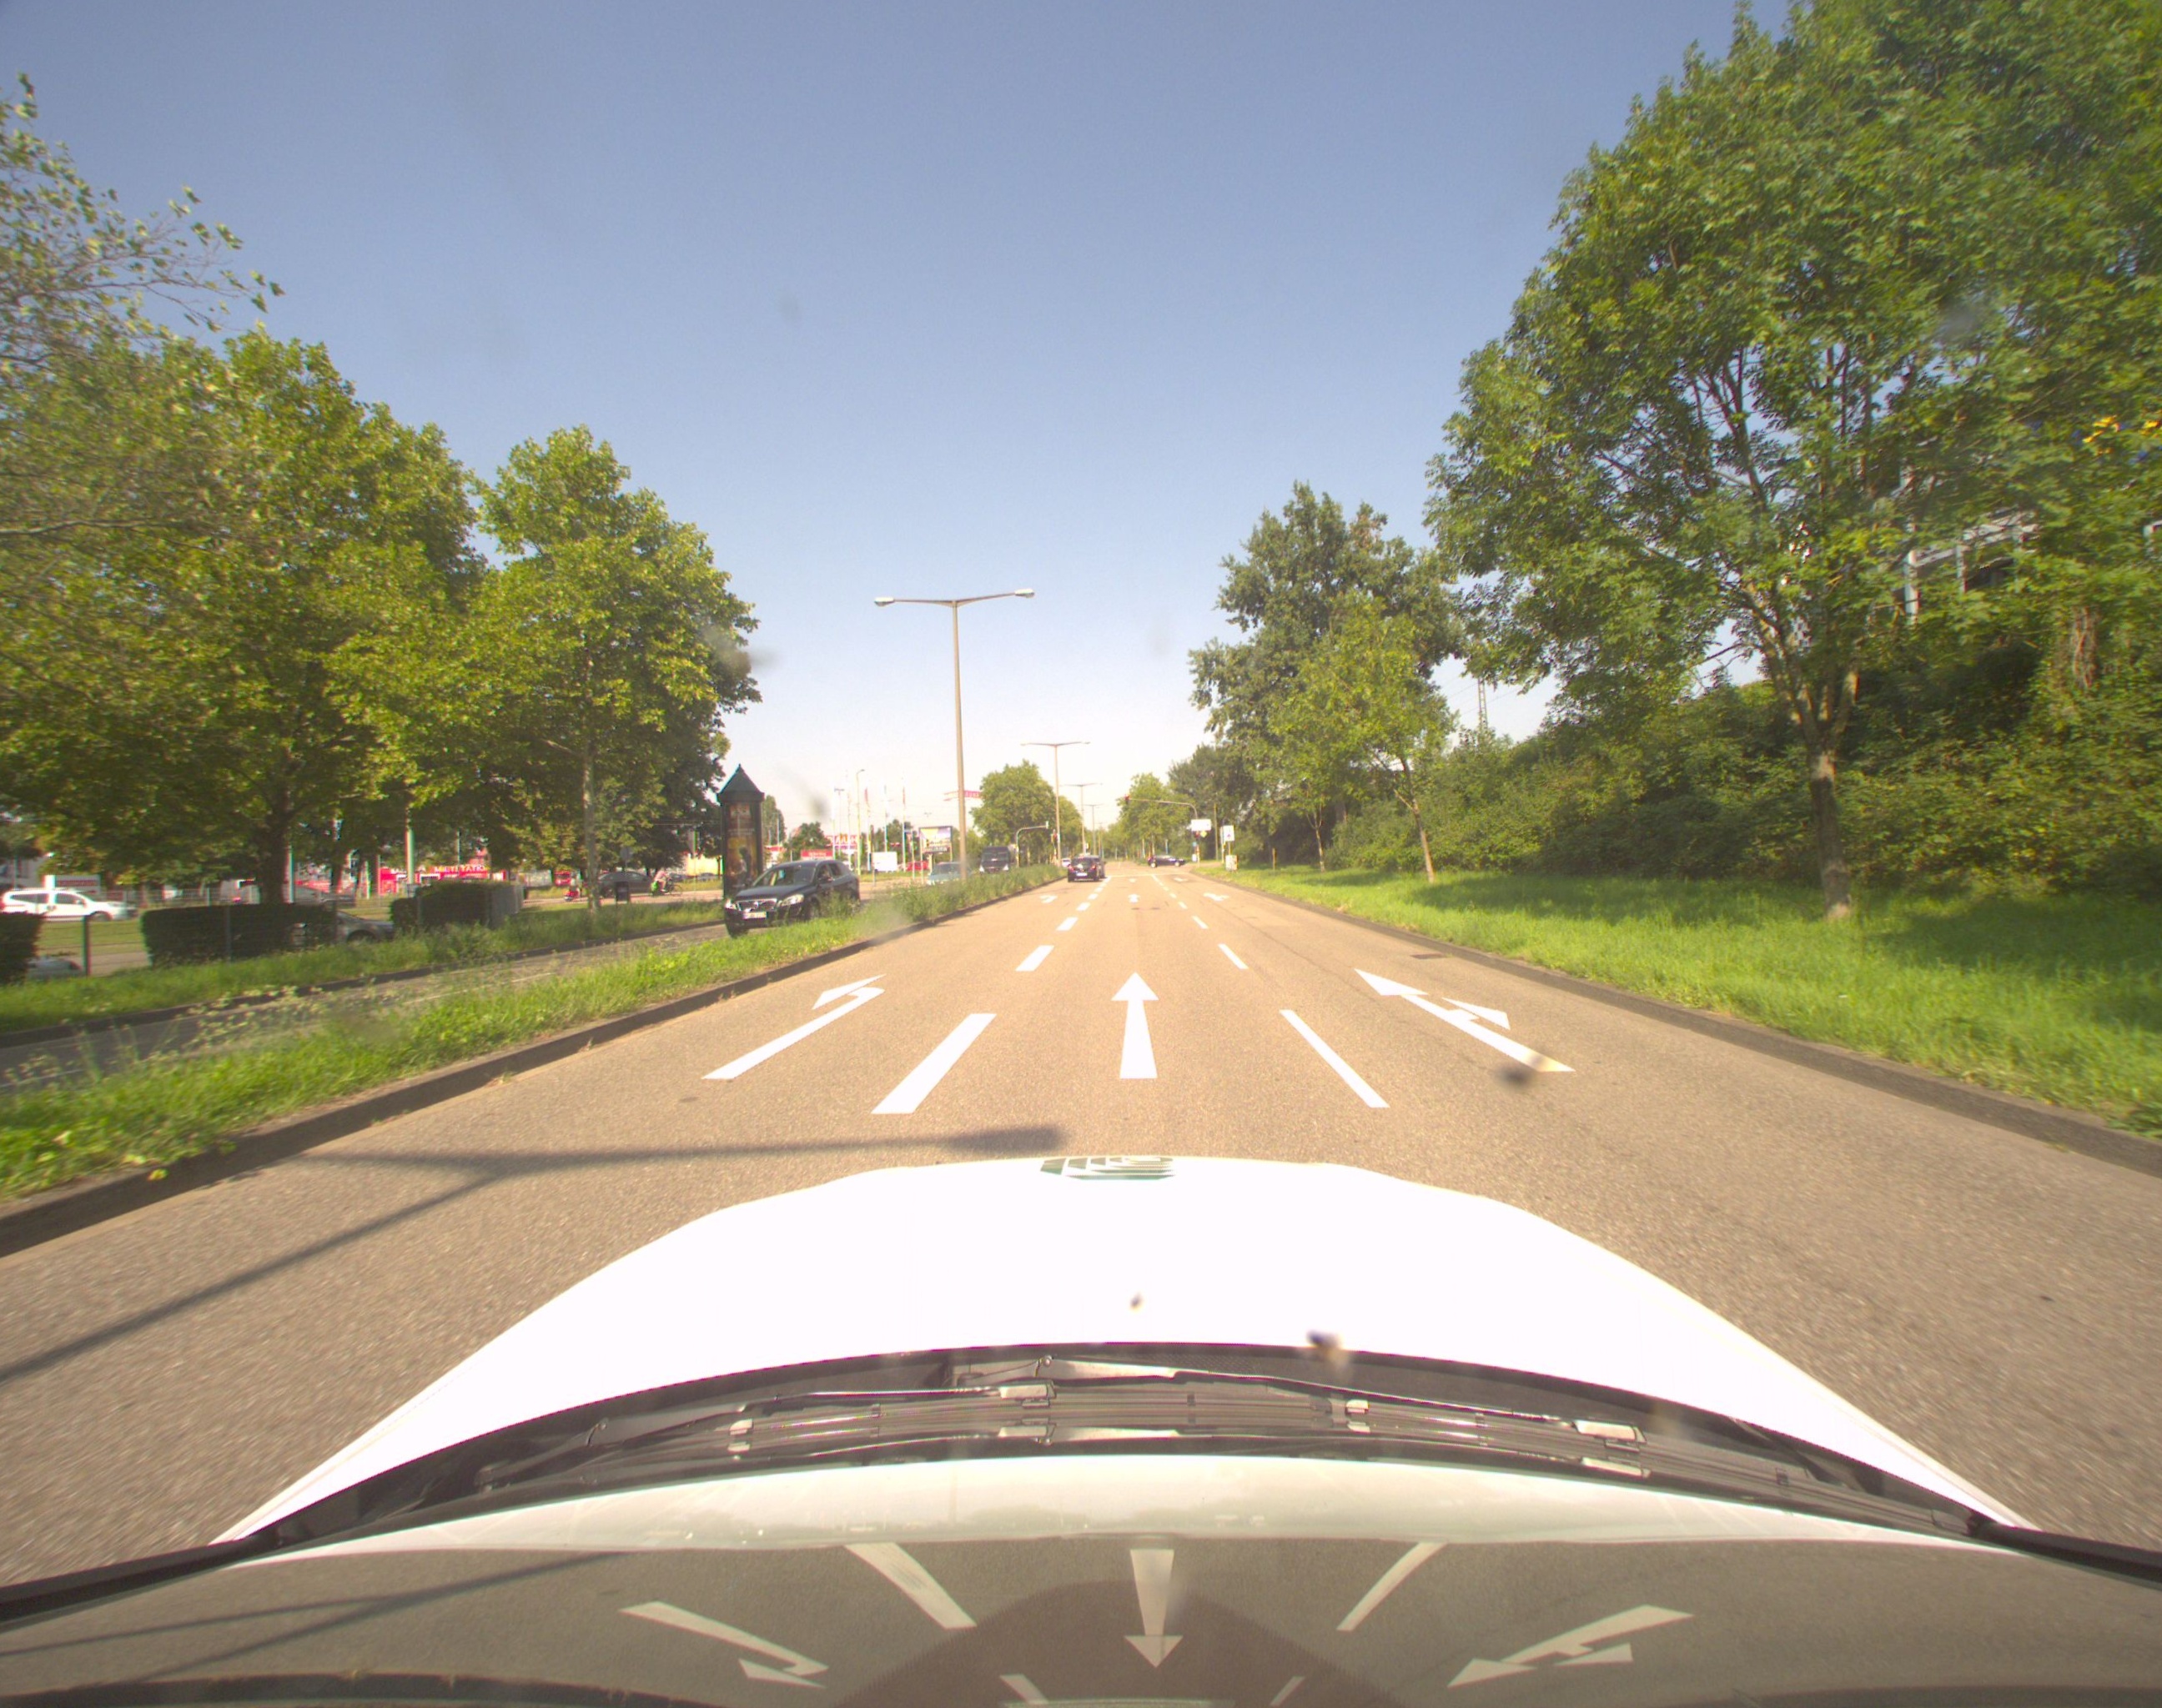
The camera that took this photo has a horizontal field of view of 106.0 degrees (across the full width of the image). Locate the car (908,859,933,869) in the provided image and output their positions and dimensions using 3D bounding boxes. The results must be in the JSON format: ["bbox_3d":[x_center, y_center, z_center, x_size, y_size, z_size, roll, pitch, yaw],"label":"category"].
[{"bbox_3d":[-31.850,1.995,161.674,4.316,2.014,1.975,-1,-1,-44],"label":"car"}]

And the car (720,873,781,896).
[{"bbox_3d":[-22.819,2.064,56.228,3.716,1.443,1.451,-1,-1,-33],"label":"car"}]

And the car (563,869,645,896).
[{"bbox_3d":[-30.142,1.778,51.519,4.329,1.579,1.555,-1,-1,-35],"label":"car"}]

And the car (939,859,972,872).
[{"bbox_3d":[-14.153,1.285,91.946,3.353,1.137,1.498,-5,0,11],"label":"car"}]

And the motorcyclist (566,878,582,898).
[{"bbox_3d":[-30.743,2.051,49.391,0.833,1.178,0.684,-1,-1,-32],"label":"motorcyclist"}]

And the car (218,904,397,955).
[{"bbox_3d":[-25.303,2.423,26.829,4.016,1.256,1.574,-3,0,-34],"label":"car"}]

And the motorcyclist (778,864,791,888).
[{"bbox_3d":[-19.927,1.500,54.714,0.686,1.572,0.676,-1,-1,-32],"label":"motorcyclist"}]

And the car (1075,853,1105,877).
[{"bbox_3d":[0.623,0.710,53.688,1.685,1.486,4.004,-3,0,3],"label":"car"}]

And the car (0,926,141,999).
[{"bbox_3d":[-23.405,2.361,17.613,3.974,1.310,1.820,-2,-1,0],"label":"car"}]

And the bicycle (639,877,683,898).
[{"bbox_3d":[-26.138,2.063,50.668,2.369,1.235,0.865,-1,-1,-33],"label":"bicycle"}]

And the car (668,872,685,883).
[{"bbox_3d":[-45.178,2.649,90.880,1.615,1.135,3.384,-1,-1,-29],"label":"car"}]

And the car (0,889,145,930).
[{"bbox_3d":[-47.827,2.596,38.686,4.015,1.679,1.851,-1,-1,-34],"label":"car"}]

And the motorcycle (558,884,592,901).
[{"bbox_3d":[-30.688,2.338,49.415,1.727,0.945,0.705,-1,-1,-32],"label":"motorcycle"}]

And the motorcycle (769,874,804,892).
[{"bbox_3d":[-19.815,1.943,54.768,2.083,1.136,0.670,-2,-1,-32],"label":"motorcycle"}]

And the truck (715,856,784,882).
[{"bbox_3d":[-33.163,1.501,81.660,5.960,2.329,2.106,-2,-1,0],"label":"truck"}]

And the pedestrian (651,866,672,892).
[{"bbox_3d":[-26.107,1.562,50.700,1.062,1.575,0.859,-1,-1,-33],"label":"pedestrian"}]

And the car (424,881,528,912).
[{"bbox_3d":[-35.395,2.455,47.841,4.765,1.443,1.556,-2,0,-33],"label":"car"}]

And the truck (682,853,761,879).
[{"bbox_3d":[-47.613,1.629,108.042,9.048,2.958,3.478,-3,0,-33],"label":"truck"}]

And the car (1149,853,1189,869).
[{"bbox_3d":[9.202,0.763,85.244,3.932,1.533,1.831,-2,-1,15],"label":"car"}]

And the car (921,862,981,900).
[{"bbox_3d":[-5.768,1.168,36.608,1.765,1.574,4.004,-2,-1,4],"label":"car"}]

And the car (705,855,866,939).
[{"bbox_3d":[-6.786,0.908,19.291,1.986,1.706,4.507,-2,-1,2],"label":"car"}]

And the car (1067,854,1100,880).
[{"bbox_3d":[0.163,0.743,47.696,1.685,1.486,4.004,-1,0,3],"label":"car"}]

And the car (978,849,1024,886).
[{"bbox_3d":[-5.317,0.888,55.166,2.103,2.333,6.287,-2,-1,3],"label":"car"}]
